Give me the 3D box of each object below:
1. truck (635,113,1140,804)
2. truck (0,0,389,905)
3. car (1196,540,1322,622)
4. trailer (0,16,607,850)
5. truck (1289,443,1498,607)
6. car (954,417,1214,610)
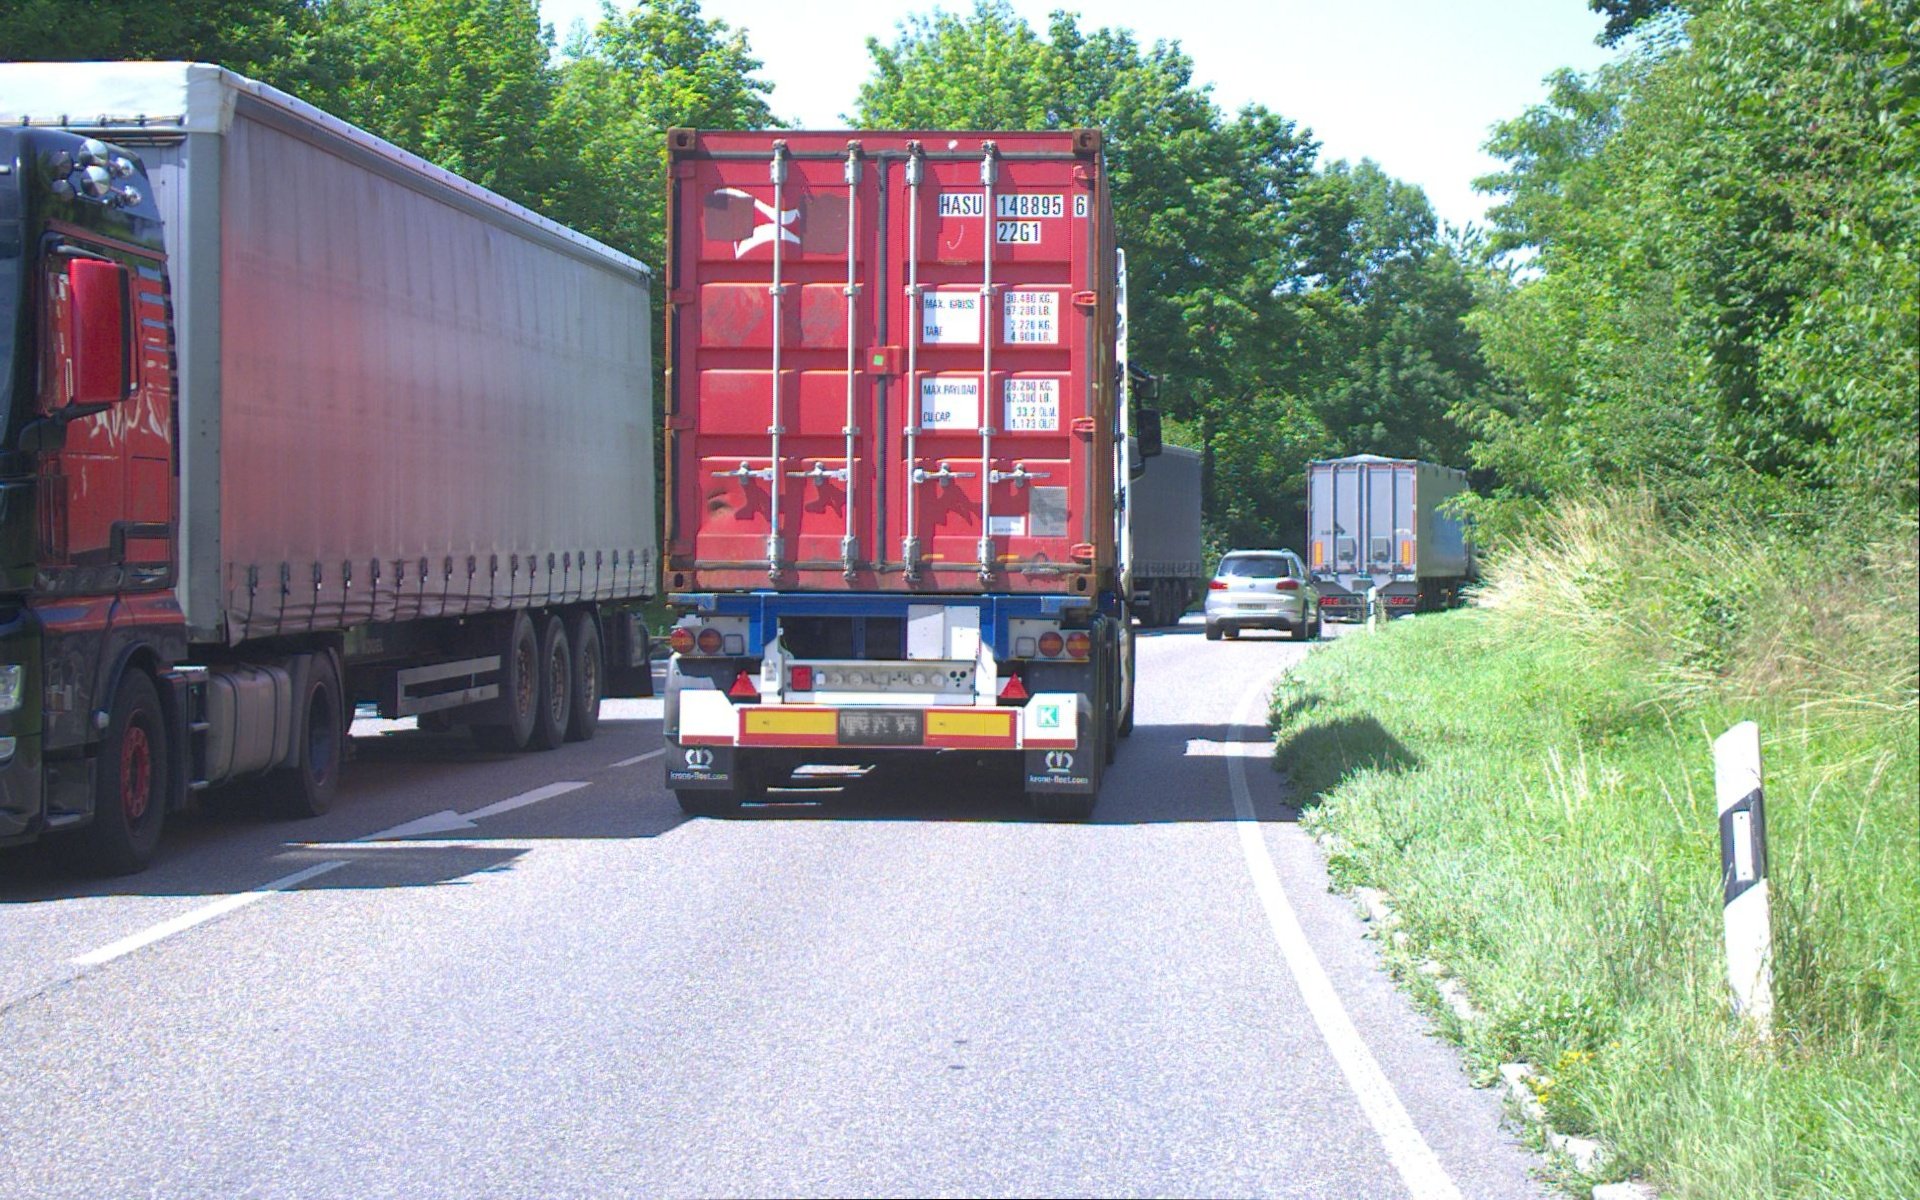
[{"bbox_3d":[-0.059,-0.842,25.644,2.648,3.793,13.358,1,0,3],"label":"truck"},{"bbox_3d":[-5.001,-0.856,17.325,2.922,4.168,5.918,1,0,3],"label":"truck"},{"bbox_3d":[5.597,-0.362,63.977,1.833,1.428,3.998,-2,0,12],"label":"car"},{"bbox_3d":[-4.718,-0.894,22.904,2.922,4.168,11.263,1,0,3],"label":"trailer"},{"bbox_3d":[11.054,-1.818,86.225,2.924,3.704,13.349,-2,0,17],"label":"truck"},{"bbox_3d":[2.936,-1.843,75.334,3.267,3.860,12.738,0,1,13],"label":"car"}]
